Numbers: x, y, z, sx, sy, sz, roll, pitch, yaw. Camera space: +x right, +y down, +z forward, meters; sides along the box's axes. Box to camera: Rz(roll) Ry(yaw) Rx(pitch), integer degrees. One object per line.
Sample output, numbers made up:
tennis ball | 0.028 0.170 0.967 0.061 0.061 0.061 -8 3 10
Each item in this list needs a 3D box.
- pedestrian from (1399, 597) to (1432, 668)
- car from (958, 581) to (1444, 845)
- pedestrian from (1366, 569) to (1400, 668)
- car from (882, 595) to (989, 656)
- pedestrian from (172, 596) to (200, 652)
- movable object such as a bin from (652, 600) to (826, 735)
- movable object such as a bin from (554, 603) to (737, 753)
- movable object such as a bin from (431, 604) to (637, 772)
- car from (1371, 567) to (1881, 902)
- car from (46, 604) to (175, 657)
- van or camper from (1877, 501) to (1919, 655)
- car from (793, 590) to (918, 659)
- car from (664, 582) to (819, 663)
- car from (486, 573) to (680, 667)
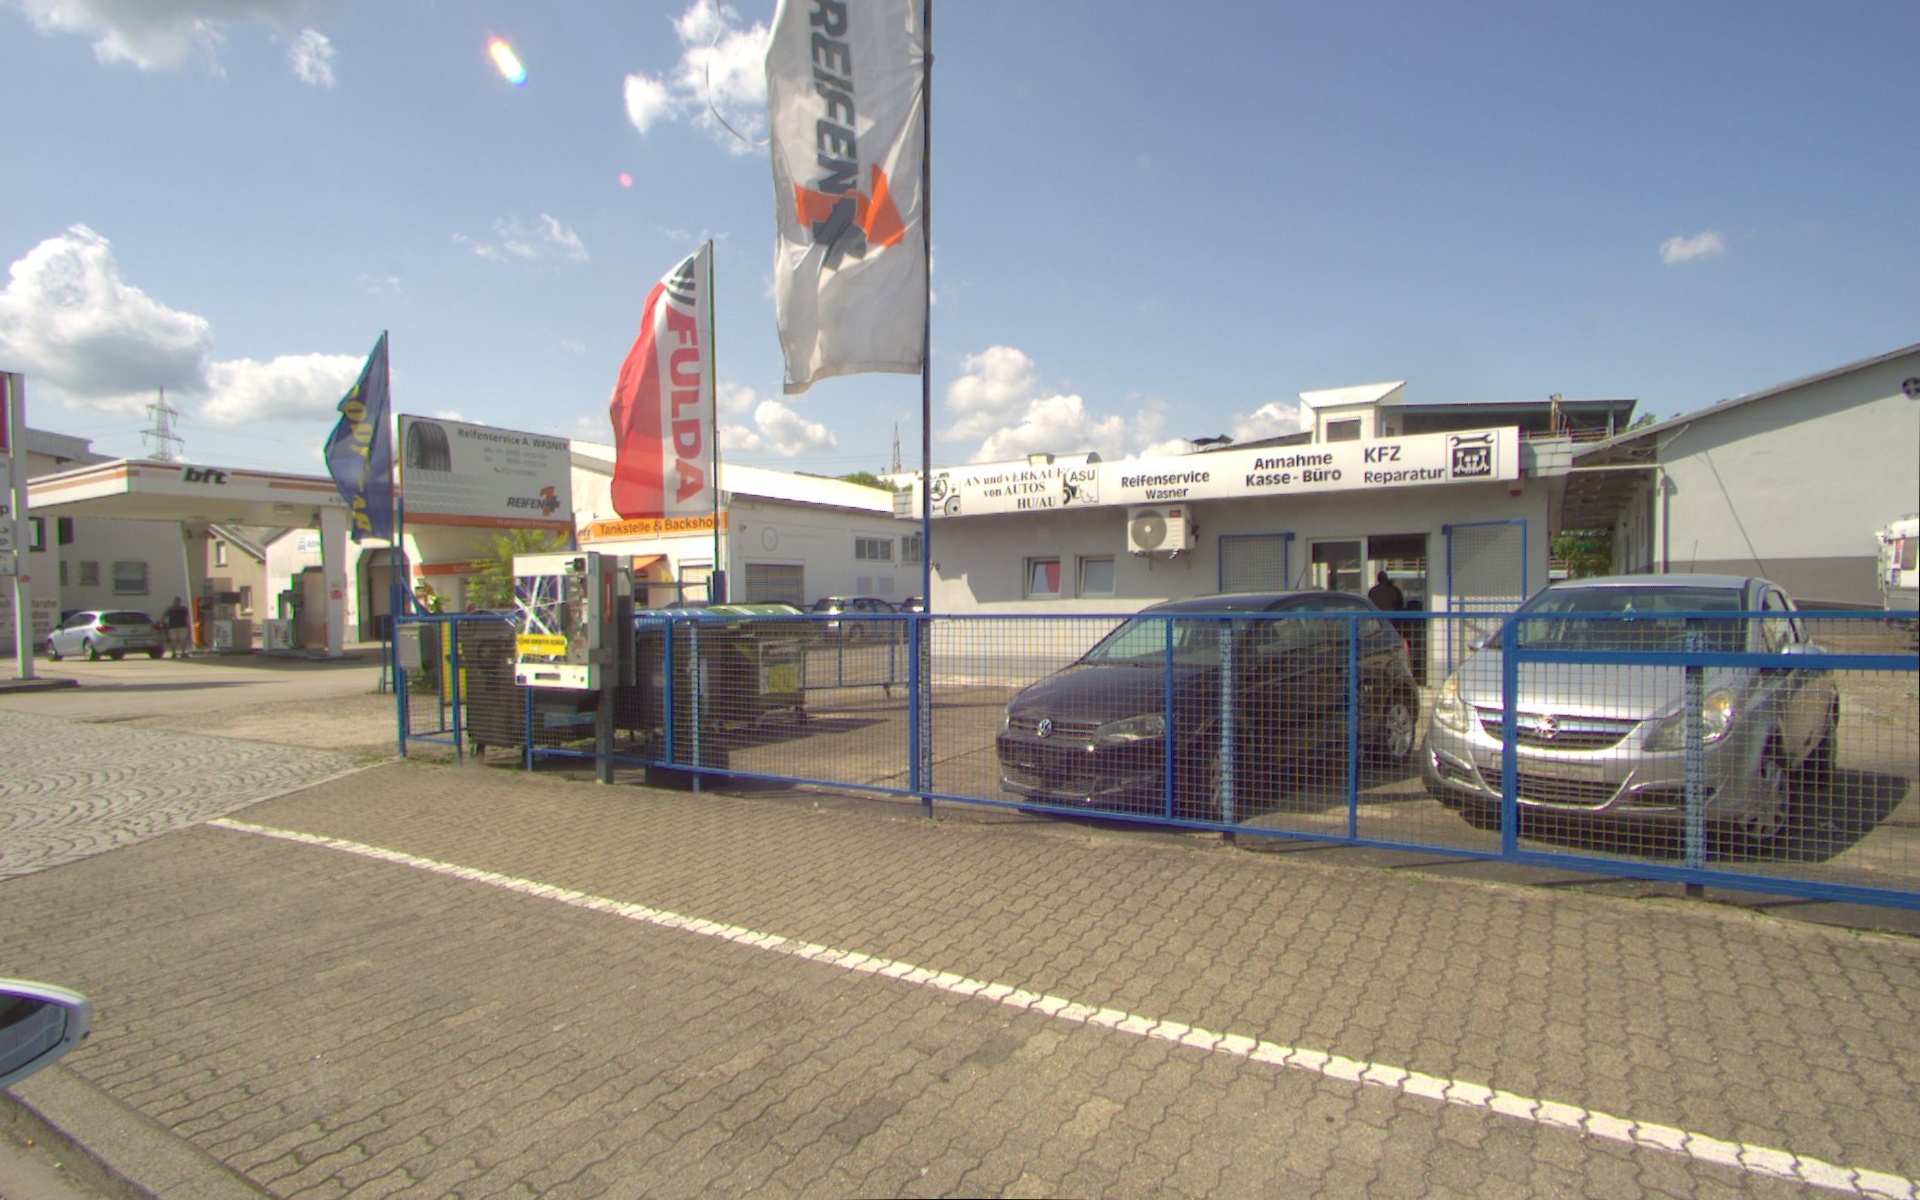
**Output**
pedestrian | 7.979 0.562 17.525 0.480 1.229 0.499 0 1 30
car | 2.015 0.627 7.648 3.962 1.499 1.705 -1 1 -43
pedestrian | 7.427 0.325 17.576 0.480 1.710 0.499 0 1 30
car | -0.806 0.862 35.877 1.971 2.040 3.979 0 0 32
pedestrian | -23.741 0.728 30.713 0.628 1.705 0.618 -1 1 -36
movable object such as a bin | -2.605 0.743 11.899 1.433 1.473 1.427 0 1 31
movable object such as a bin | -3.371 0.775 10.784 1.434 1.473 1.224 0 1 31
movable object such as a bin | -4.131 0.784 9.744 1.434 1.473 1.224 0 1 31
car | 4.503 0.588 6.511 4.104 1.499 1.787 -1 0 -42
car | -25.835 0.888 30.432 3.950 1.499 1.829 -1 1 31
van or camper | 21.347 -0.458 19.322 4.983 3.002 2.276 0 1 31
car | -3.265 0.727 31.987 1.971 2.040 3.979 0 0 32
car | -5.948 0.571 27.635 1.971 2.040 3.979 0 0 32
car | -8.914 0.435 23.981 1.971 2.040 3.979 0 0 32
